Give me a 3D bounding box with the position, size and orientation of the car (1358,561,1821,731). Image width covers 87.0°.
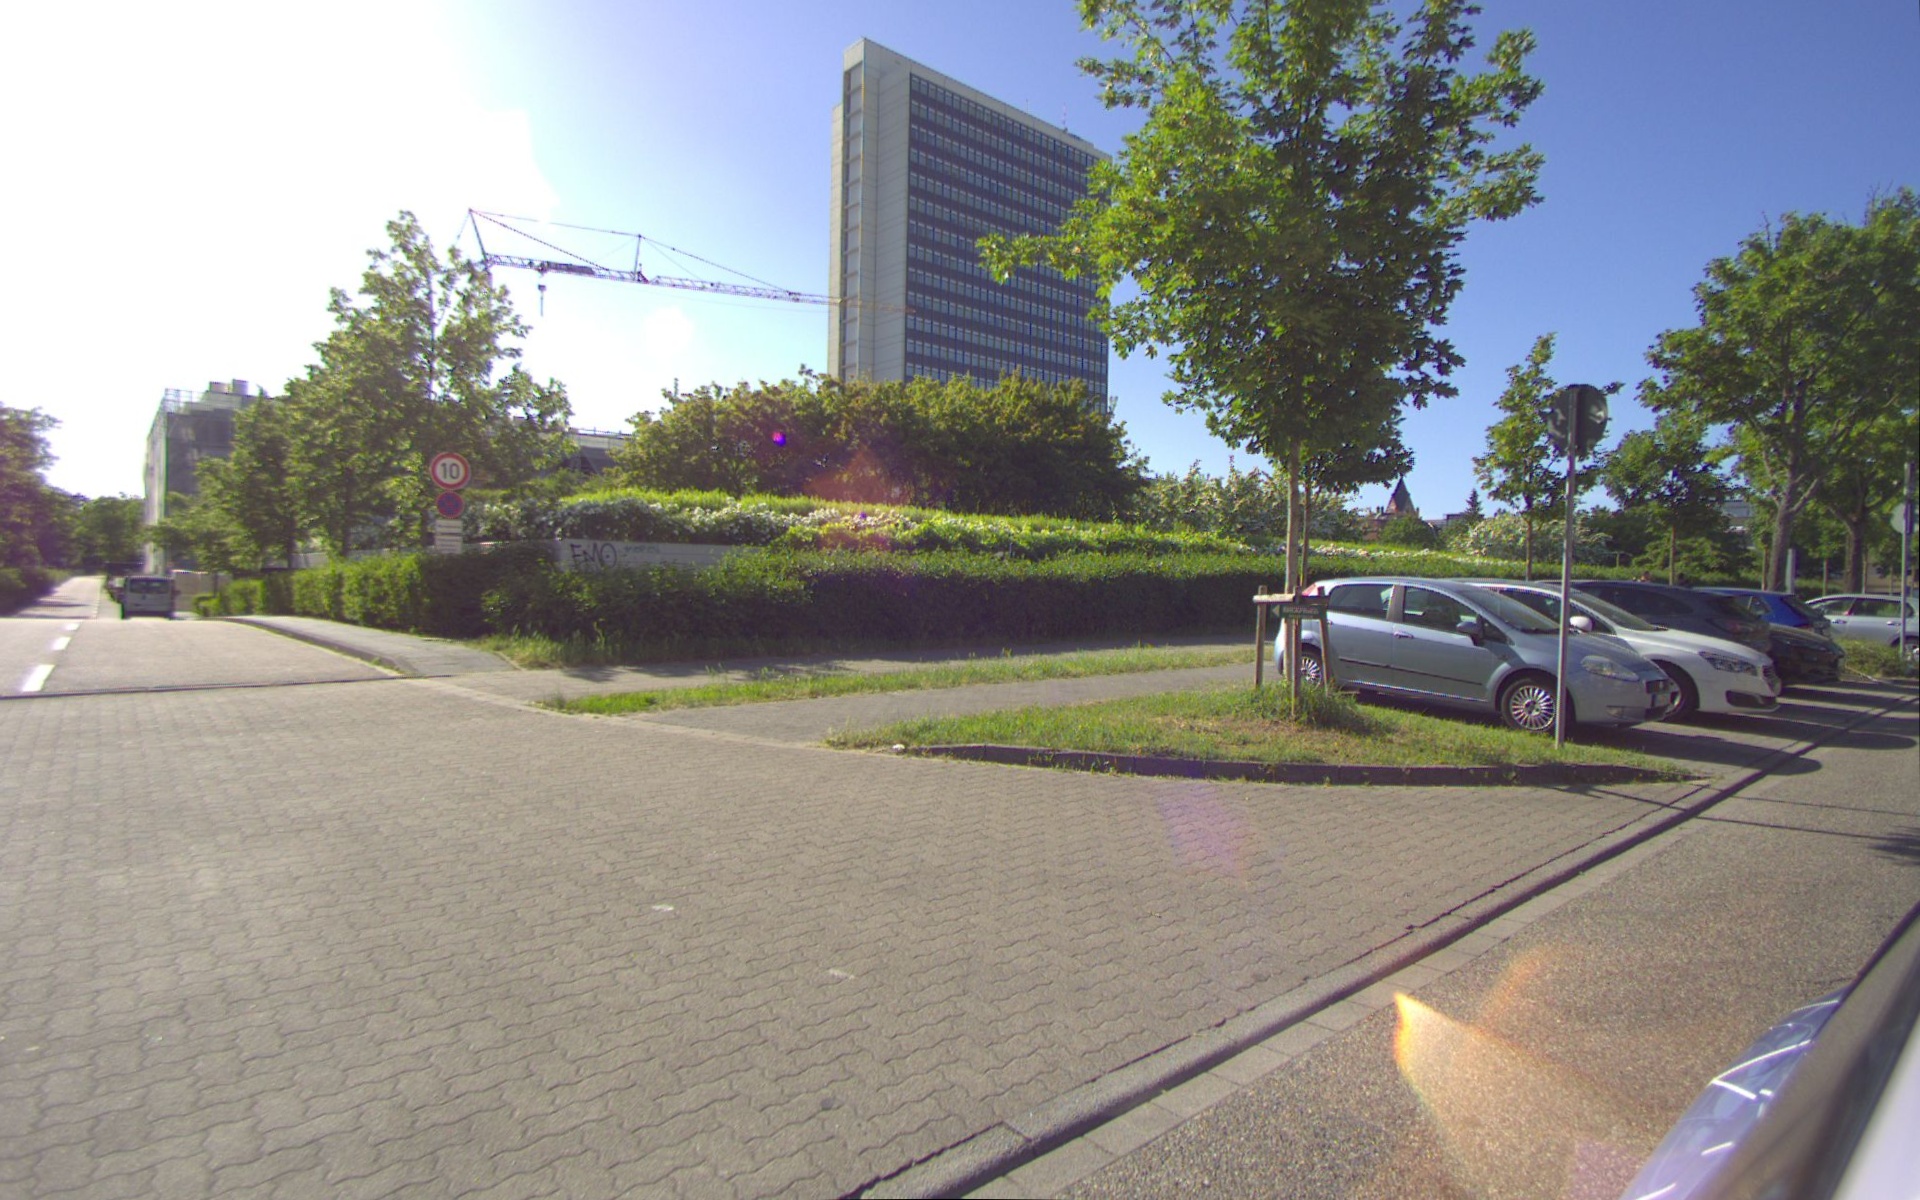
[{"bbox_3d":[7.647,0.394,12.633,4.552,1.533,1.951,6,5,44],"label":"car"}]

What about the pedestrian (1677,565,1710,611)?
[{"bbox_3d":[26.279,-0.446,36.249,0.837,1.607,0.725,0,2,-39],"label":"pedestrian"}]

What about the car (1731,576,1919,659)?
[{"bbox_3d":[19.633,0.366,22.067,1.611,1.446,4.108,0,6,-33],"label":"car"}]

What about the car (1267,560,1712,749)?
[{"bbox_3d":[5.605,0.424,11.153,1.671,1.533,3.959,0,5,-39],"label":"car"}]

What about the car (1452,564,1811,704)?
[{"bbox_3d":[9.414,0.354,14.448,1.720,1.533,3.886,-1,5,-40],"label":"car"}]

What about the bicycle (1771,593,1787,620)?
[{"bbox_3d":[28.618,0.216,35.376,0.345,0.877,1.390,3,3,37],"label":"bicycle"}]

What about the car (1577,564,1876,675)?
[{"bbox_3d":[13.364,0.252,17.837,1.713,1.465,3.818,0,6,-38],"label":"car"}]

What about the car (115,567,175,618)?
[{"bbox_3d":[-36.525,-0.381,45.296,1.892,2.135,3.994,0,2,-42],"label":"car"}]

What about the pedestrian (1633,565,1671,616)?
[{"bbox_3d":[21.457,-0.294,31.382,0.919,1.561,0.609,1,1,-33],"label":"pedestrian"}]

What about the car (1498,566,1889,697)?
[{"bbox_3d":[11.384,0.355,16.000,2.120,1.533,4.562,-1,5,-40],"label":"car"}]
